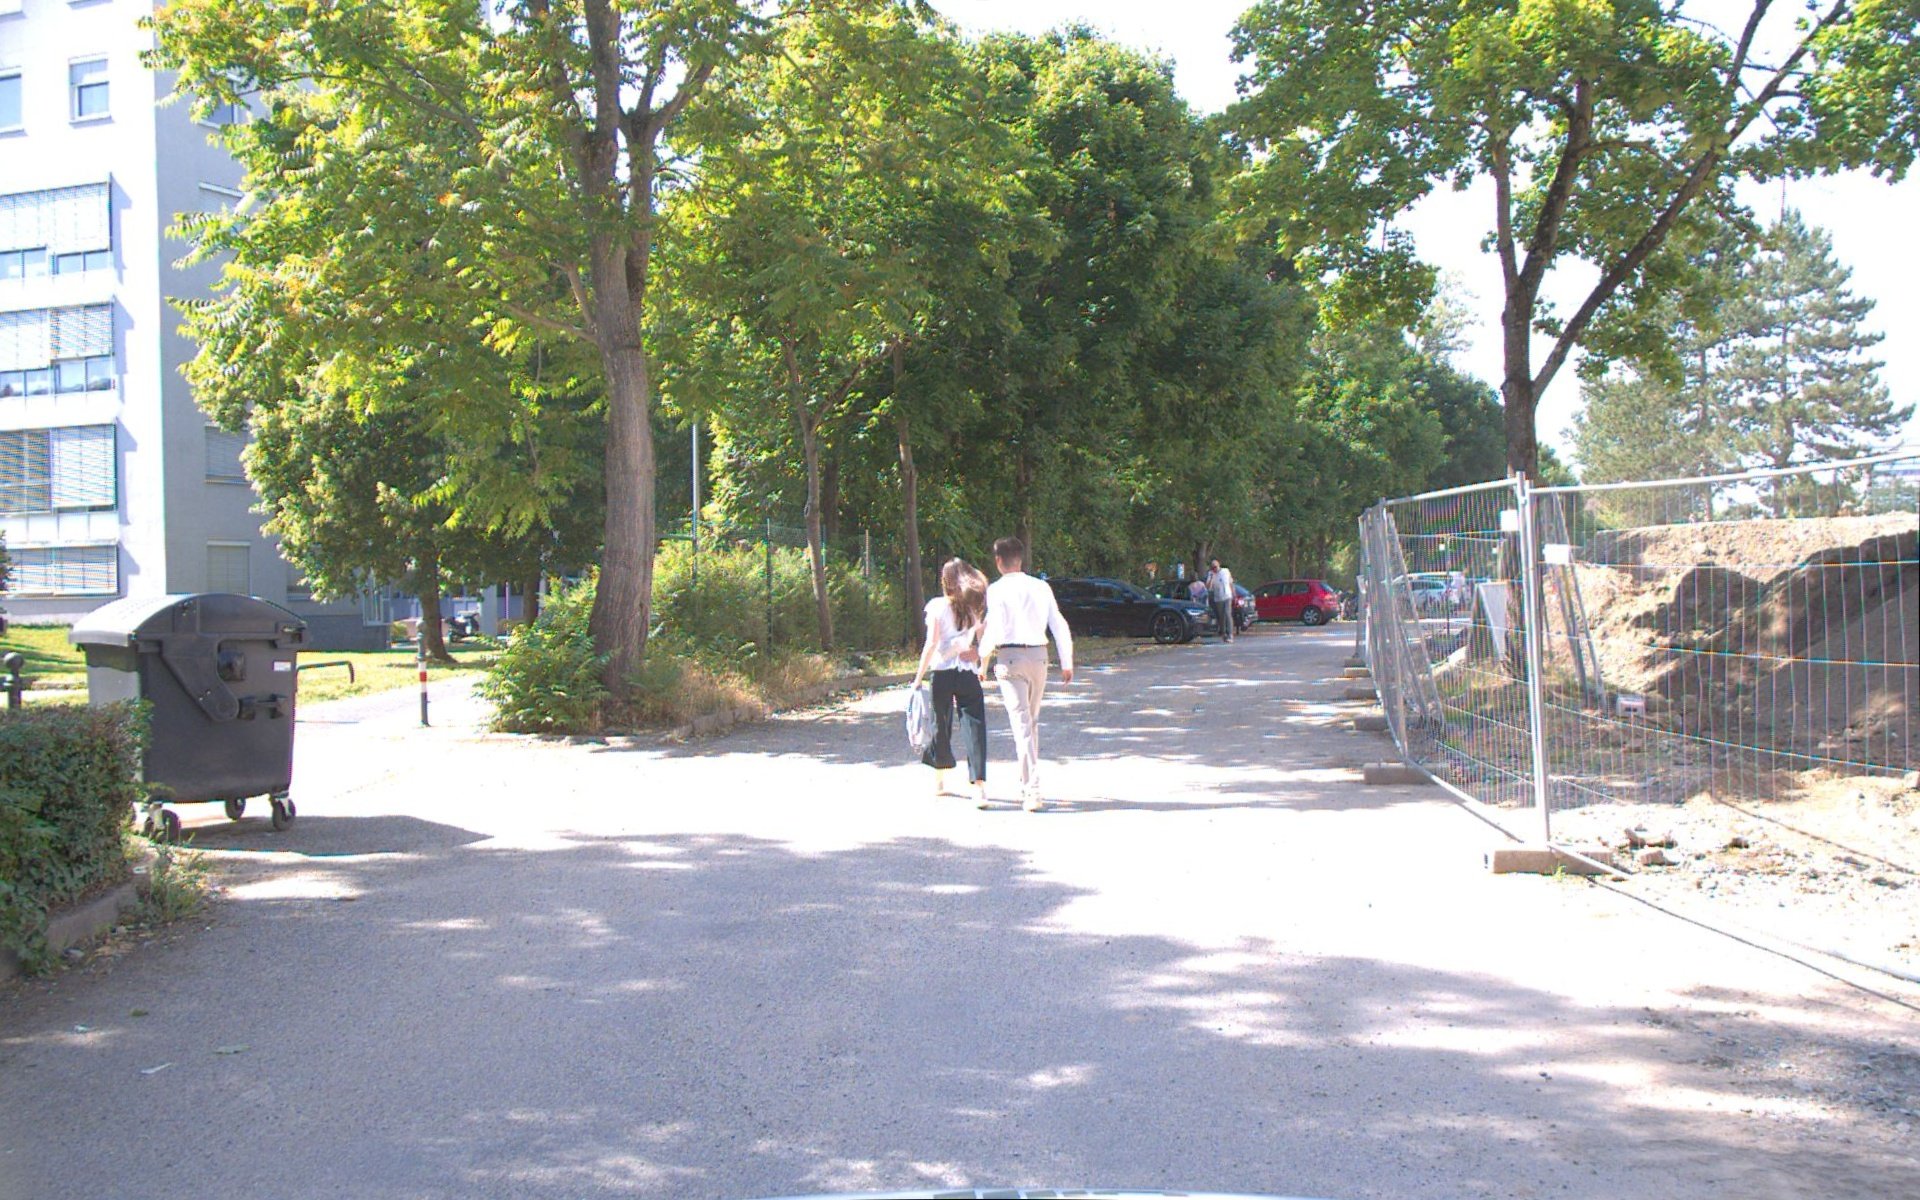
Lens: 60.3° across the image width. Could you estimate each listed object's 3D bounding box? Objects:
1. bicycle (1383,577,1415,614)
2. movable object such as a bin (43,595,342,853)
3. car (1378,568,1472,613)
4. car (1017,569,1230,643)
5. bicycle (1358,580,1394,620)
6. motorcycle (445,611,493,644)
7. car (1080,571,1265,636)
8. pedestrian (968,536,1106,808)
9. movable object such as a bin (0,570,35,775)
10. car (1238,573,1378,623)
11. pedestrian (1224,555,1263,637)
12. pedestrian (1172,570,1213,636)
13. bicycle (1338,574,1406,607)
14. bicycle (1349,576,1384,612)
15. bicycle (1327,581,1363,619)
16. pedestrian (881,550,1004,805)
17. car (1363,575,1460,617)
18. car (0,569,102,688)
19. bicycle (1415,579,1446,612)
[{"bbox_3d":[16.162,-0.177,60.877,0.700,1.306,2.635,-1,1,25],"label":"bicycle"},{"bbox_3d":[-4.736,0.702,10.199,1.380,1.421,1.240,-1,0,43],"label":"movable object such as a bin"},{"bbox_3d":[21.728,-0.447,77.308,3.910,2.049,1.765,0,1,28],"label":"car"},{"bbox_3d":[3.784,0.130,37.989,4.557,1.612,2.002,-1,1,16],"label":"car"},{"bbox_3d":[14.212,-0.008,56.396,0.700,1.306,2.682,-1,1,25],"label":"bicycle"},{"bbox_3d":[-19.885,1.096,67.044,0.616,1.268,2.060,-1,0,26],"label":"motorcycle"},{"bbox_3d":[5.621,0.077,43.617,4.557,1.612,2.002,-1,1,16],"label":"car"},{"bbox_3d":[0.511,0.457,11.253,0.741,1.758,0.852,-1,1,-11],"label":"pedestrian"},{"bbox_3d":[-7.797,0.547,12.076,1.307,1.507,1.249,-1,0,20],"label":"movable object such as a bin"},{"bbox_3d":[11.388,-0.062,54.111,4.199,1.550,1.892,-1,1,24],"label":"car"},{"bbox_3d":[6.419,-0.093,37.445,0.800,1.812,1.018,-1,0,12],"label":"pedestrian"},{"bbox_3d":[5.903,0.071,42.004,0.905,1.623,0.786,-1,1,17],"label":"pedestrian"},{"bbox_3d":[16.983,-0.383,68.164,2.619,1.306,0.819,-1,0,19],"label":"bicycle"},{"bbox_3d":[15.403,-0.230,62.611,0.800,1.306,2.682,-1,1,25],"label":"bicycle"},{"bbox_3d":[13.552,-0.019,58.152,0.700,1.306,2.789,-1,1,25],"label":"bicycle"},{"bbox_3d":[-0.134,0.502,11.342,0.722,1.668,0.779,-1,1,-9],"label":"pedestrian"},{"bbox_3d":[20.380,-0.169,74.633,3.910,1.802,1.765,0,1,28],"label":"car"},{"bbox_3d":[-17.081,0.493,27.260,1.954,1.967,5.035,-1,0,26],"label":"car"},{"bbox_3d":[19.374,-0.188,68.074,0.800,1.306,2.745,-1,1,25],"label":"bicycle"}]
